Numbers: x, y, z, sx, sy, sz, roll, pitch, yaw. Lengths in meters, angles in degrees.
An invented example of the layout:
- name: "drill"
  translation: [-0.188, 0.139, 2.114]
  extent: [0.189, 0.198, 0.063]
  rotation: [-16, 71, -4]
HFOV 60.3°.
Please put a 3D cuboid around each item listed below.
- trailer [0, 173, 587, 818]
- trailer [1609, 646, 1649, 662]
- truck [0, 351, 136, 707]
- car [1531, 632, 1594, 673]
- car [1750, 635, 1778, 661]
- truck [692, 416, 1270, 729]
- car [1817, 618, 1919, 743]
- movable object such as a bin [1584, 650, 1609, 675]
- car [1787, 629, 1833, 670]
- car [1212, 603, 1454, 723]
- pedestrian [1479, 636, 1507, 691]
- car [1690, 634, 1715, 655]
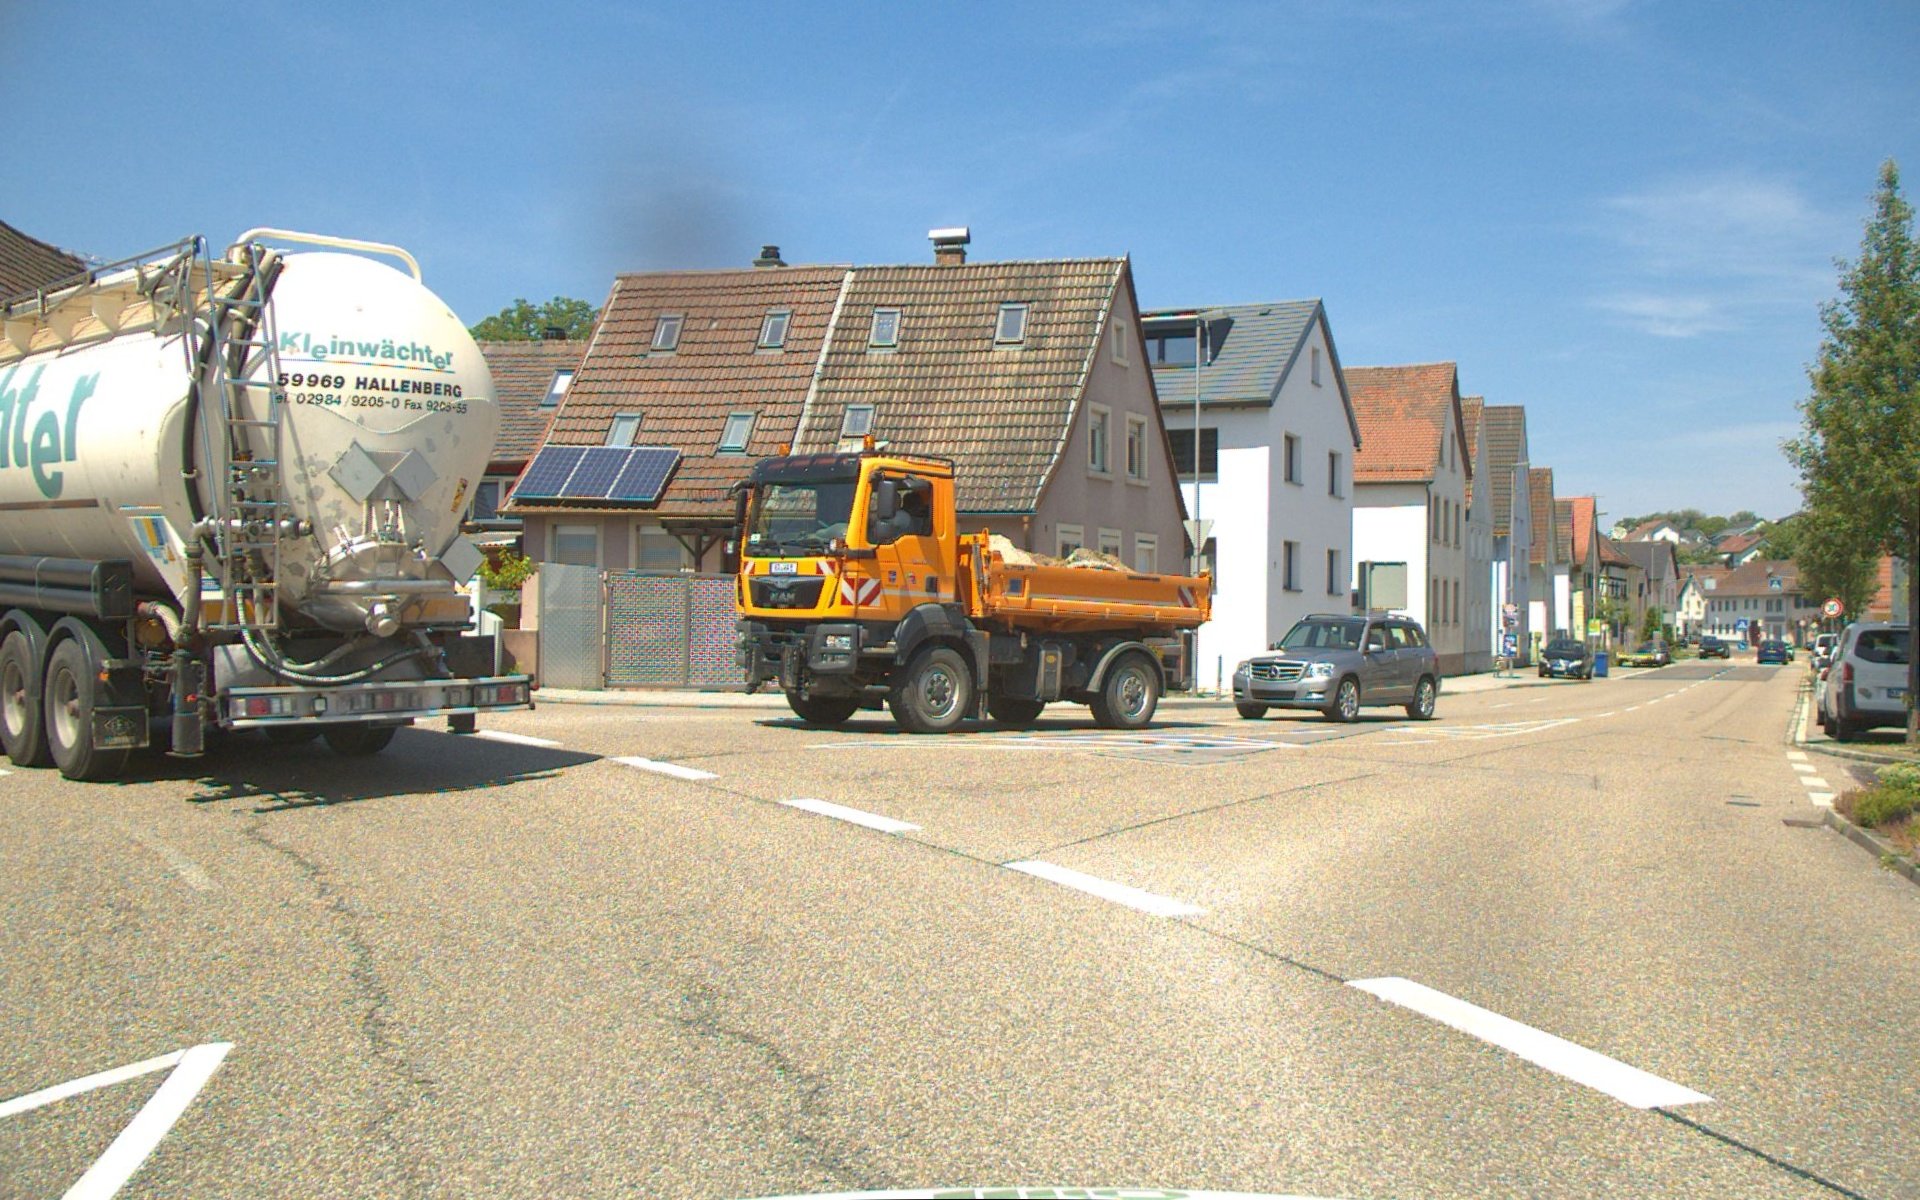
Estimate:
- name: "trailer"
  translation: [-7.873, -0.726, 15.425]
  extent: [2.940, 4.017, 11.428]
  rotation: [2, 0, -44]
- name: "trailer"
  translation: [38.275, 3.090, 94.705]
  extent: [1.909, 0.791, 2.721]
  rotation: [1, -1, 18]
- name: "truck"
  translation: [-13.260, -0.835, 20.139]
  extent: [5.449, 4.034, 2.996]
  rotation: [1, 0, 24]
- name: "car"
  translation: [25.151, 2.166, 68.996]
  extent: [1.686, 1.624, 3.989]
  rotation: [1, -1, 32]
- name: "car"
  translation: [53.892, 3.207, 110.901]
  extent: [1.684, 1.624, 3.996]
  rotation: [1, -1, 26]
- name: "truck"
  translation: [0.543, -0.125, 20.548]
  extent: [7.400, 3.237, 2.628]
  rotation: [3, -3, -43]
- name: "car"
  translation: [15.938, 1.382, 28.338]
  extent: [1.954, 1.946, 4.321]
  rotation: [1, -2, 24]
- name: "movable object such as a bin"
  translation: [28.204, 2.750, 73.269]
  extent: [0.902, 1.067, 0.942]
  rotation: [1, -1, 27]
- name: "car"
  translation: [44.293, 2.570, 86.255]
  extent: [1.954, 2.026, 3.997]
  rotation: [1, -1, 25]
- name: "car"
  translation: [5.988, 0.992, 26.215]
  extent: [1.963, 1.704, 4.289]
  rotation: [1, -1, 40]
- name: "pedestrian"
  translation: [20.527, 2.436, 63.678]
  extent: [0.755, 2.049, 0.974]
  rotation: [1, -1, 33]
- name: "car"
  translation: [58.678, 3.488, 130.717]
  extent: [1.684, 1.624, 3.996]
  rotation: [1, -1, 26]
